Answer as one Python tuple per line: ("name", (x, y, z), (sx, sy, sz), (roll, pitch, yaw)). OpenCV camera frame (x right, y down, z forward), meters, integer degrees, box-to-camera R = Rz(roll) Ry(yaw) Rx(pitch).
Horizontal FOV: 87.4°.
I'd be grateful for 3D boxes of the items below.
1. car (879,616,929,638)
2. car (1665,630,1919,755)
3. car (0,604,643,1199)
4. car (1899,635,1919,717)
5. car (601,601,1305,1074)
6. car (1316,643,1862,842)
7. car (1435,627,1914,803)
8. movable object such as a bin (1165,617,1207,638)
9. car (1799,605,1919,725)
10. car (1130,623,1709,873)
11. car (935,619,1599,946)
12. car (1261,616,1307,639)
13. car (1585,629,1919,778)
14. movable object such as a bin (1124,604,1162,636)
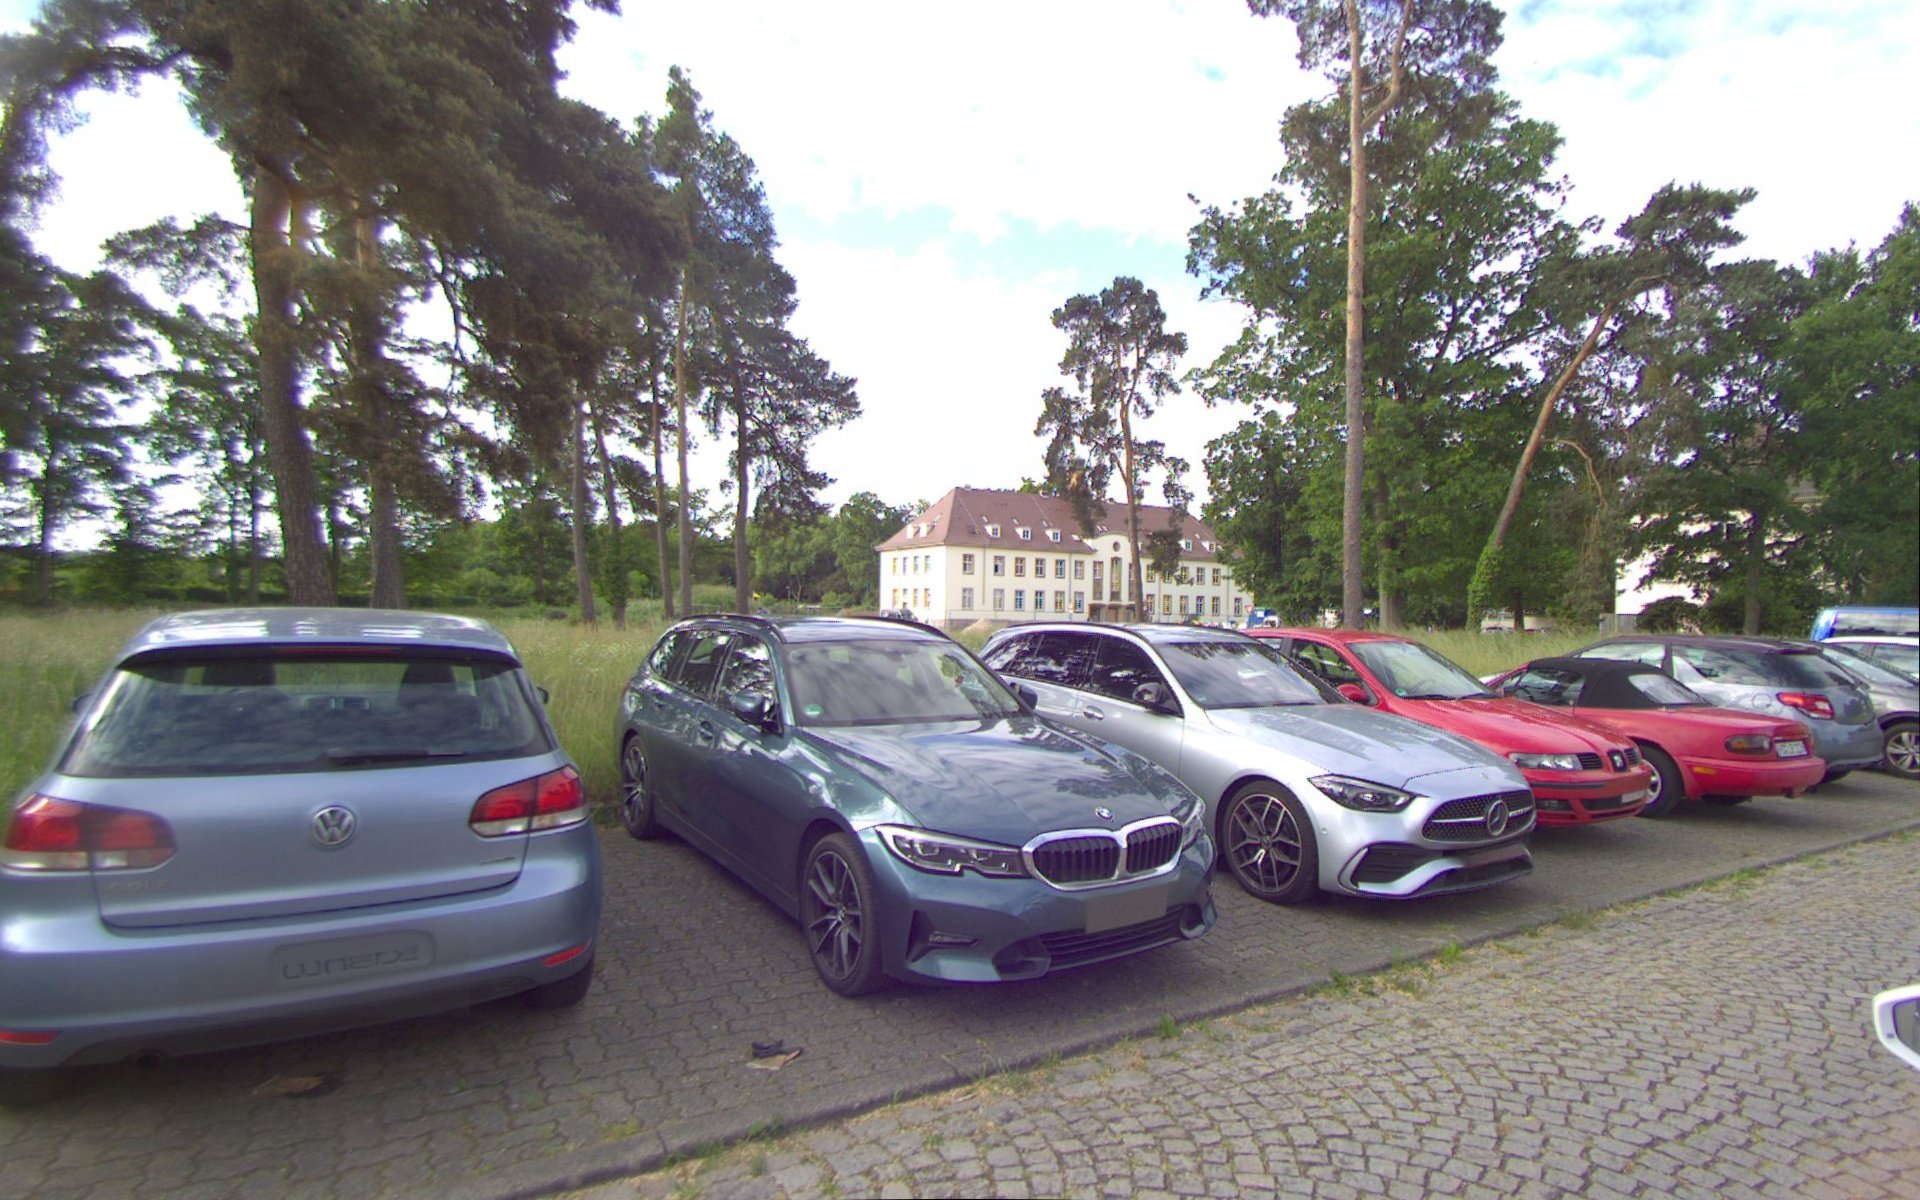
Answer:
("car", (-6.047, 2.867, 108.210), (2.351, 2.143, 5.758), (4, -2, -39))
("car", (12.644, 1.247, 14.206), (1.821, 1.522, 3.987), (1, 0, -29))
("car", (-2.880, 0.804, 4.665), (1.805, 1.490, 4.309), (2, -1, -29))
("car", (19.509, 1.447, 17.902), (1.708, 1.513, 3.771), (1, 0, -33))
("car", (-0.502, 0.825, 5.746), (1.851, 1.557, 4.473), (2, -1, -34))
("car", (5.670, 1.143, 9.629), (1.743, 1.300, 4.110), (1, 0, -31))
("car", (7.742, 1.109, 11.335), (1.734, 1.500, 4.069), (1, 0, -30))
("movable object such as a bin", (25.801, 3.093, 114.681), (2.349, 2.283, 4.492), (3, -2, -26))
("car", (17.257, 1.110, 16.702), (2.015, 2.007, 4.684), (1, 0, -31))
("car", (3.545, 0.985, 8.598), (1.834, 1.474, 4.232), (1, 0, -31))
("car", (1.730, 0.934, 7.185), (1.927, 1.474, 4.415), (2, -1, -30))
("car", (32.473, 2.760, 100.707), (4.298, 2.122, 2.051), (3, -3, -32))
("car", (10.416, 1.172, 12.408), (1.710, 1.500, 4.285), (1, 0, -29))
("movable object such as a bin", (21.615, 2.372, 118.933), (2.105, 3.689, 6.119), (2, -2, -14))
